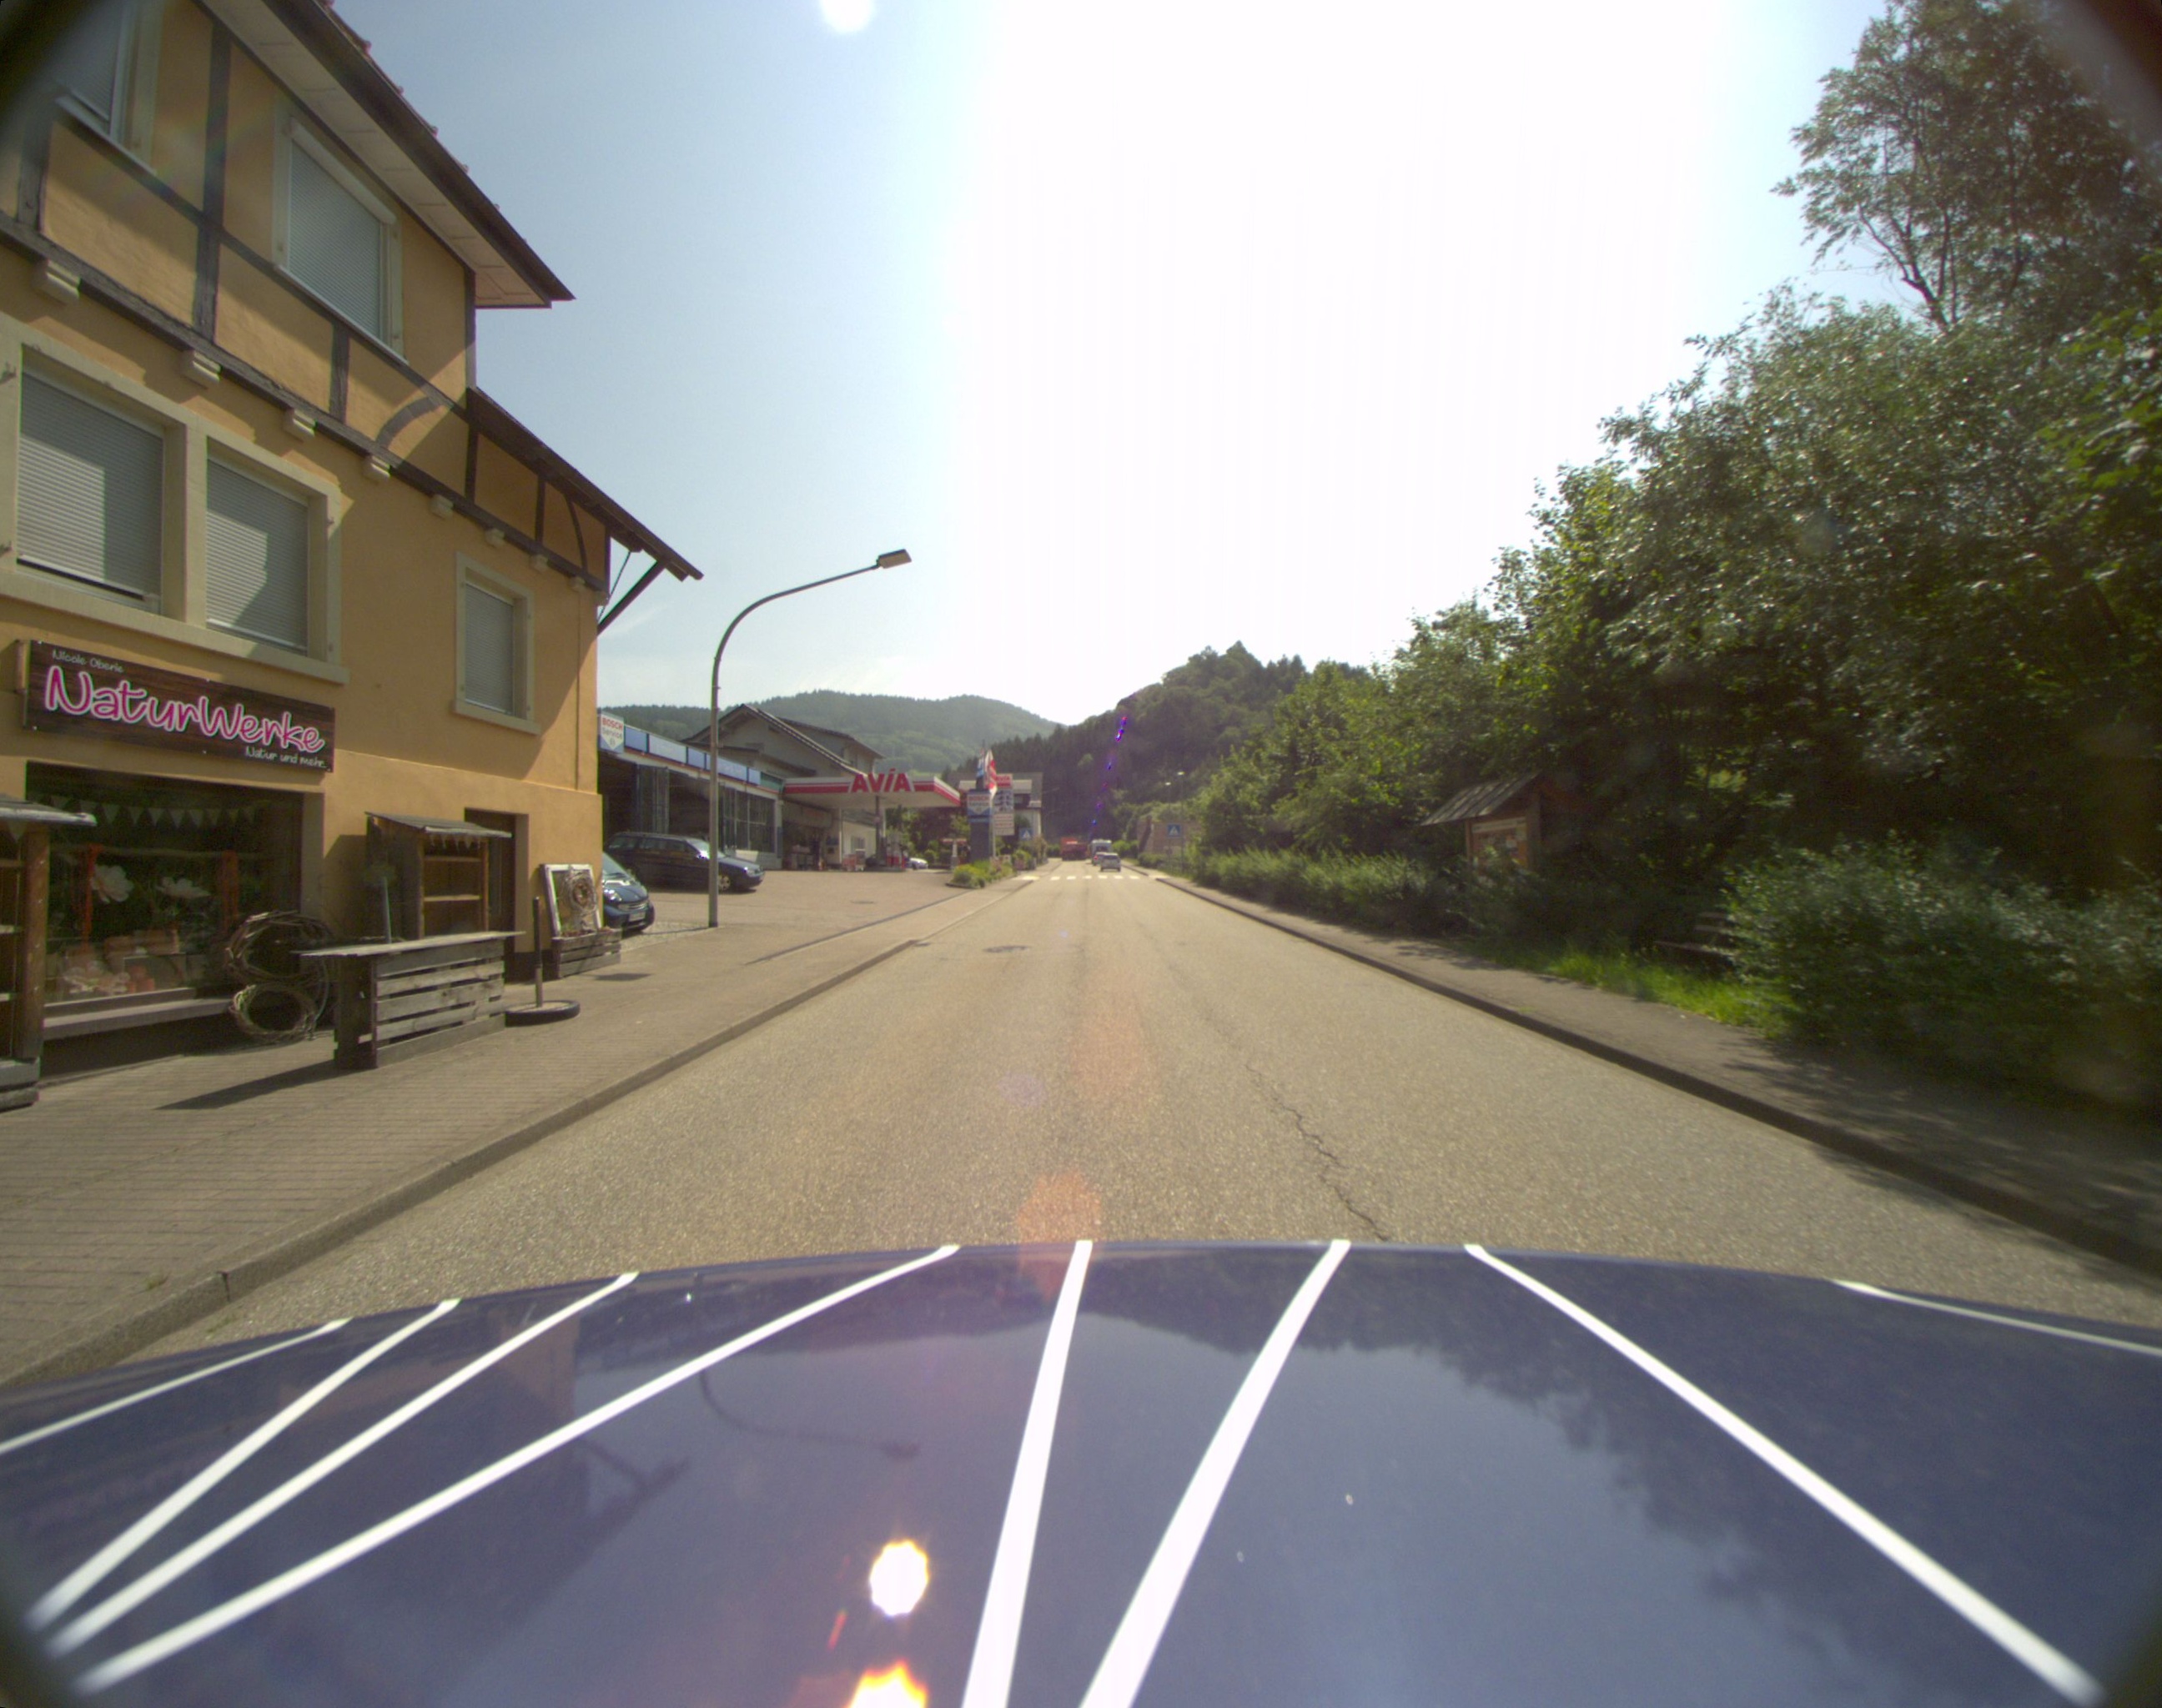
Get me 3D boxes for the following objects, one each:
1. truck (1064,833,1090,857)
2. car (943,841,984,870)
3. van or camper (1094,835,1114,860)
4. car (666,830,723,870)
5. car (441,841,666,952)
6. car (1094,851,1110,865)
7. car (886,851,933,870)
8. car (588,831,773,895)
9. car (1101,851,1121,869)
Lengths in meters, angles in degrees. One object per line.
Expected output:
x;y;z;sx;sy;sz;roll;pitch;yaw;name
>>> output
-0.678;-1.445;120.471;2.653;3.561;8.184;1;1;-10;truck
-7.026;0.038;45.907;1.696;1.568;3.911;3;1;2;car
2.780;-0.796;95.484;2.364;2.936;8.051;1;0;1;van or camper
-17.686;-0.232;34.939;1.607;1.678;3.923;3;1;-17;car
-8.713;0.665;12.716;2.661;1.527;1.424;5;2;-4;car
2.278;0.400;83.441;1.609;1.398;3.826;2;1;0;car
-12.537;0.477;55.713;3.081;1.138;1.335;3;1;-1;car
-11.420;0.246;21.944;4.332;1.536;1.798;3;1;-9;car
2.461;0.470;62.365;1.594;1.474;3.757;1;0;2;car
